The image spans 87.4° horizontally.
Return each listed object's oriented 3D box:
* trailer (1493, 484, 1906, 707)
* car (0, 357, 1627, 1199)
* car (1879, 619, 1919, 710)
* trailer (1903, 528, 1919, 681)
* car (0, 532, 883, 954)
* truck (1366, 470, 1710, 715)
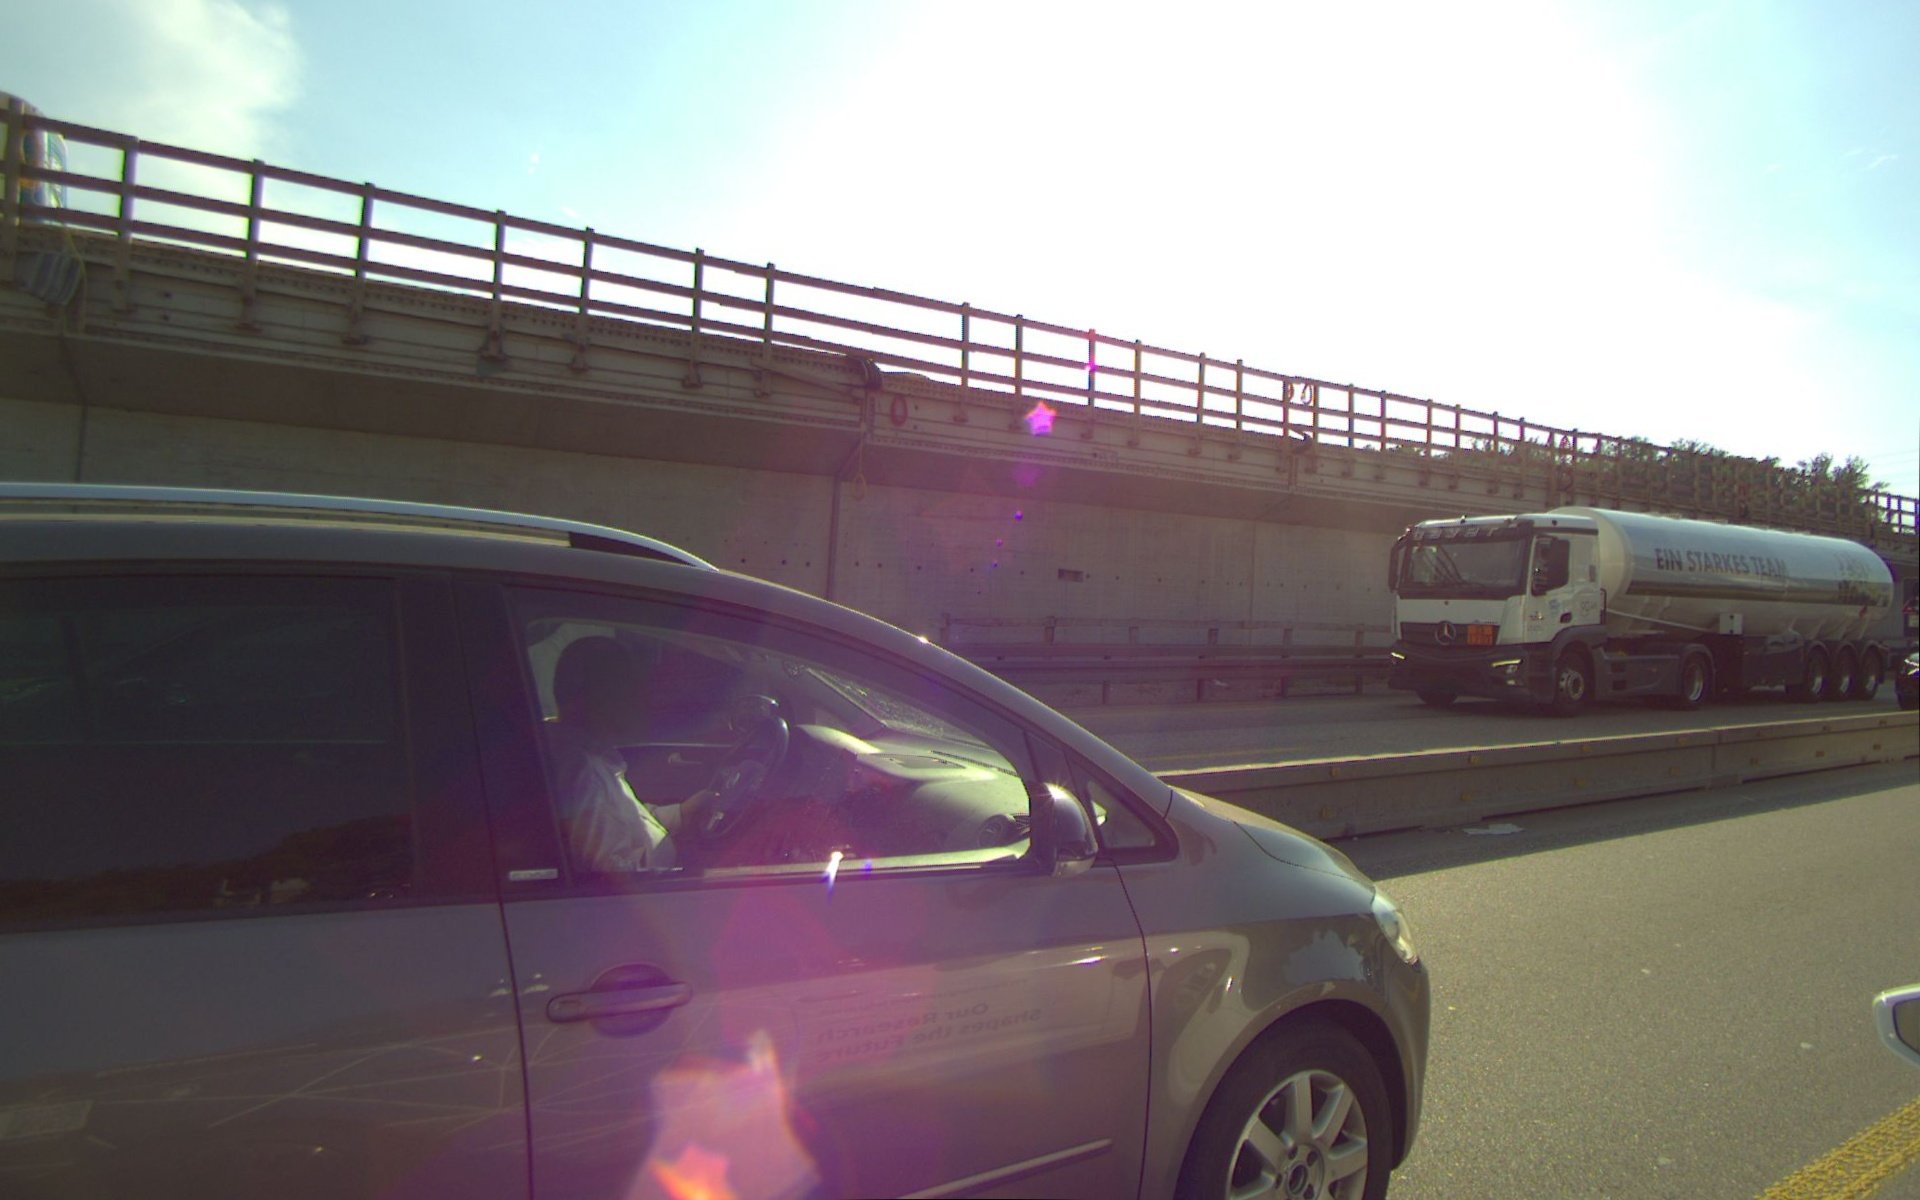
[{"bbox_3d":[14.926,0.112,19.840,10.557,3.573,2.544,2,0,-30],"label":"trailer"},{"bbox_3d":[-0.548,0.614,2.190,4.223,1.609,1.672,3,-2,-31],"label":"car"},{"bbox_3d":[18.799,1.181,18.423,4.248,1.578,1.716,1,0,-31],"label":"car"},{"bbox_3d":[29.369,0.171,28.125,5.907,4.197,2.751,1,0,-31],"label":"trailer"},{"bbox_3d":[-2.945,0.568,5.056,4.775,1.572,1.759,2,0,-27],"label":"car"},{"bbox_3d":[9.650,-0.014,16.664,5.468,3.454,2.536,2,0,-31],"label":"truck"}]
